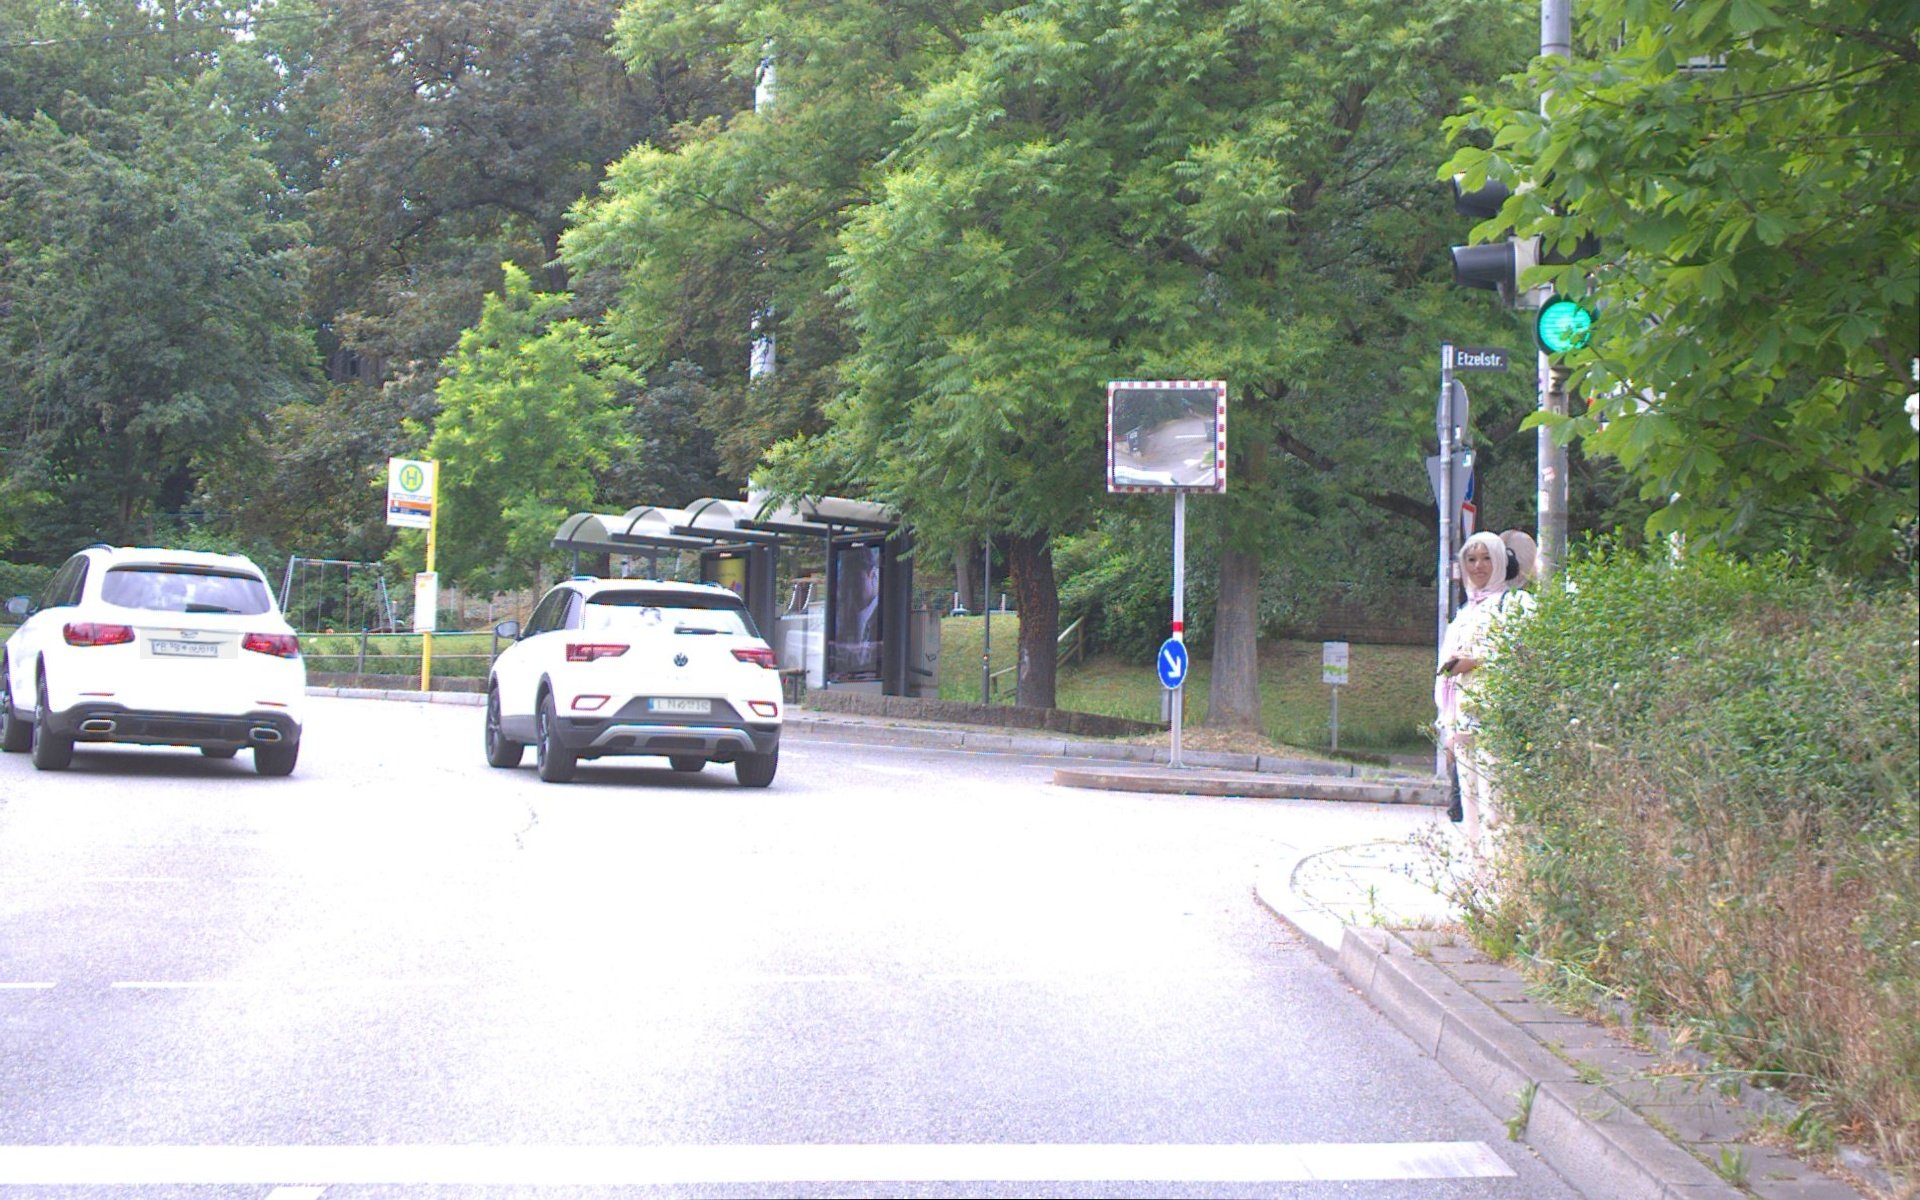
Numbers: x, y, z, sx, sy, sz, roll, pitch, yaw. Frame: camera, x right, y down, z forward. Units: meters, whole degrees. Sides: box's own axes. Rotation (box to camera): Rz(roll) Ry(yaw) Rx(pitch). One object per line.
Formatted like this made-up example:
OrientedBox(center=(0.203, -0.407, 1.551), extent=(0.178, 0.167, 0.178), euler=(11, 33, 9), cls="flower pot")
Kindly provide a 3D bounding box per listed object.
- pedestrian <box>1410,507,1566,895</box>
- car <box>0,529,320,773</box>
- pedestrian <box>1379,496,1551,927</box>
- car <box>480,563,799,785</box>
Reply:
OrientedBox(center=(2.376, 0.447, 15.535), extent=(0.615, 1.706, 0.727), euler=(0, 0, 3), cls="pedestrian")
OrientedBox(center=(-6.200, 0.355, 26.209), extent=(1.876, 1.646, 4.342), euler=(3, -1, -19), cls="car")
OrientedBox(center=(2.047, 0.442, 13.999), extent=(0.615, 1.706, 0.727), euler=(0, 0, 3), cls="pedestrian")
OrientedBox(center=(-2.592, 0.540, 26.976), extent=(1.864, 1.551, 3.895), euler=(3, 0, -14), cls="car")
